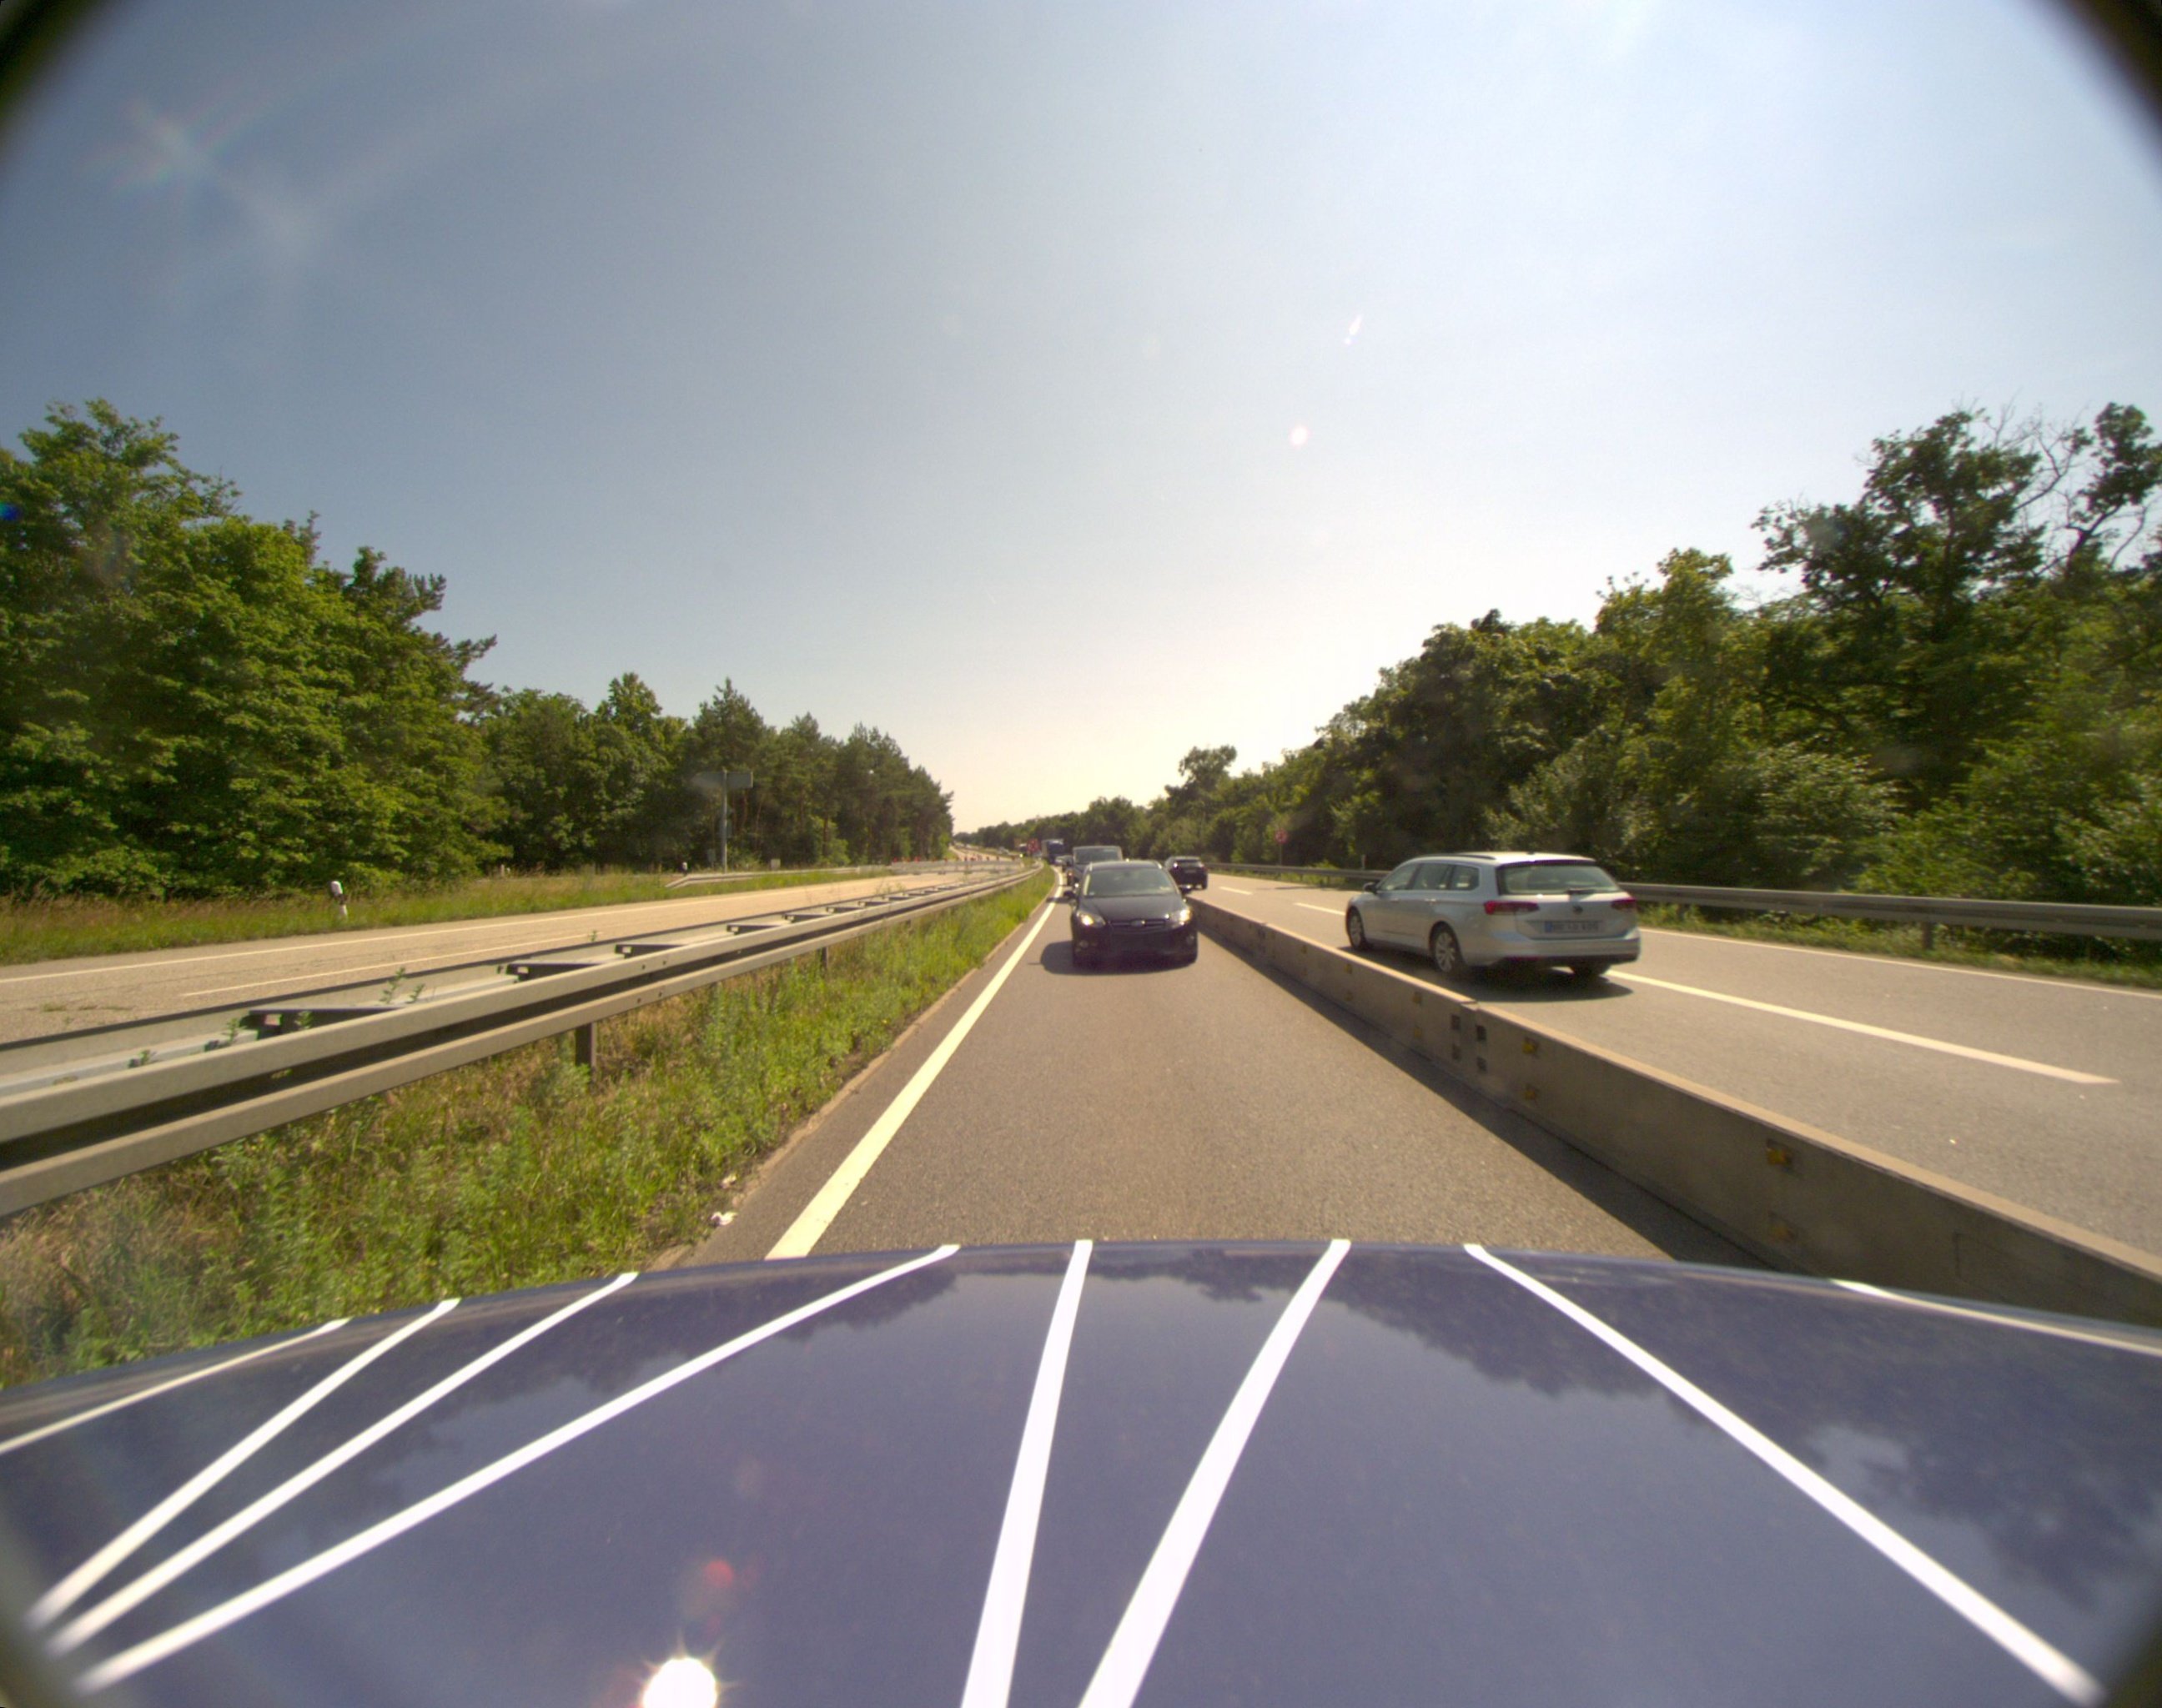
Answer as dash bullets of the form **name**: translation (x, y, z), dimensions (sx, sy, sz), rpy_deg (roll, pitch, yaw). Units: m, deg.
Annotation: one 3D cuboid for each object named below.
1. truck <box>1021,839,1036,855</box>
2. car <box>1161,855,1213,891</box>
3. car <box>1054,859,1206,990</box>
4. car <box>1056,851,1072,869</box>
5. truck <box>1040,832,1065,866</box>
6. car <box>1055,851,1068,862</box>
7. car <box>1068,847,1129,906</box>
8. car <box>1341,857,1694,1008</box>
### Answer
- **truck**: translation (-14.485, -1.869, 207.561), dimensions (3.831, 4.265, 11.240), rpy_deg (-1, 0, -5)
- **car**: translation (4.726, 0.794, 34.338), dimensions (1.826, 1.473, 4.257), rpy_deg (-2, 0, 1)
- **car**: translation (0.648, 0.898, 11.925), dimensions (1.846, 1.537, 4.935), rpy_deg (-2, 0, 1)
- **car**: translation (-1.739, 0.582, 74.893), dimensions (1.527, 1.647, 3.979), rpy_deg (0, 0, -2)
- **truck**: translation (-4.814, -0.811, 126.569), dimensions (3.830, 5.266, 11.242), rpy_deg (-1, 0, -4)
- **car**: translation (-2.822, 0.365, 109.141), dimensions (1.528, 1.647, 3.752), rpy_deg (0, 0, -5)
- **car**: translation (0.587, 0.720, 27.605), dimensions (1.959, 1.901, 4.935), rpy_deg (-2, 1, 0)
- **car**: translation (5.018, 0.781, 9.612), dimensions (1.954, 1.413, 4.353), rpy_deg (-1, 0, 0)
